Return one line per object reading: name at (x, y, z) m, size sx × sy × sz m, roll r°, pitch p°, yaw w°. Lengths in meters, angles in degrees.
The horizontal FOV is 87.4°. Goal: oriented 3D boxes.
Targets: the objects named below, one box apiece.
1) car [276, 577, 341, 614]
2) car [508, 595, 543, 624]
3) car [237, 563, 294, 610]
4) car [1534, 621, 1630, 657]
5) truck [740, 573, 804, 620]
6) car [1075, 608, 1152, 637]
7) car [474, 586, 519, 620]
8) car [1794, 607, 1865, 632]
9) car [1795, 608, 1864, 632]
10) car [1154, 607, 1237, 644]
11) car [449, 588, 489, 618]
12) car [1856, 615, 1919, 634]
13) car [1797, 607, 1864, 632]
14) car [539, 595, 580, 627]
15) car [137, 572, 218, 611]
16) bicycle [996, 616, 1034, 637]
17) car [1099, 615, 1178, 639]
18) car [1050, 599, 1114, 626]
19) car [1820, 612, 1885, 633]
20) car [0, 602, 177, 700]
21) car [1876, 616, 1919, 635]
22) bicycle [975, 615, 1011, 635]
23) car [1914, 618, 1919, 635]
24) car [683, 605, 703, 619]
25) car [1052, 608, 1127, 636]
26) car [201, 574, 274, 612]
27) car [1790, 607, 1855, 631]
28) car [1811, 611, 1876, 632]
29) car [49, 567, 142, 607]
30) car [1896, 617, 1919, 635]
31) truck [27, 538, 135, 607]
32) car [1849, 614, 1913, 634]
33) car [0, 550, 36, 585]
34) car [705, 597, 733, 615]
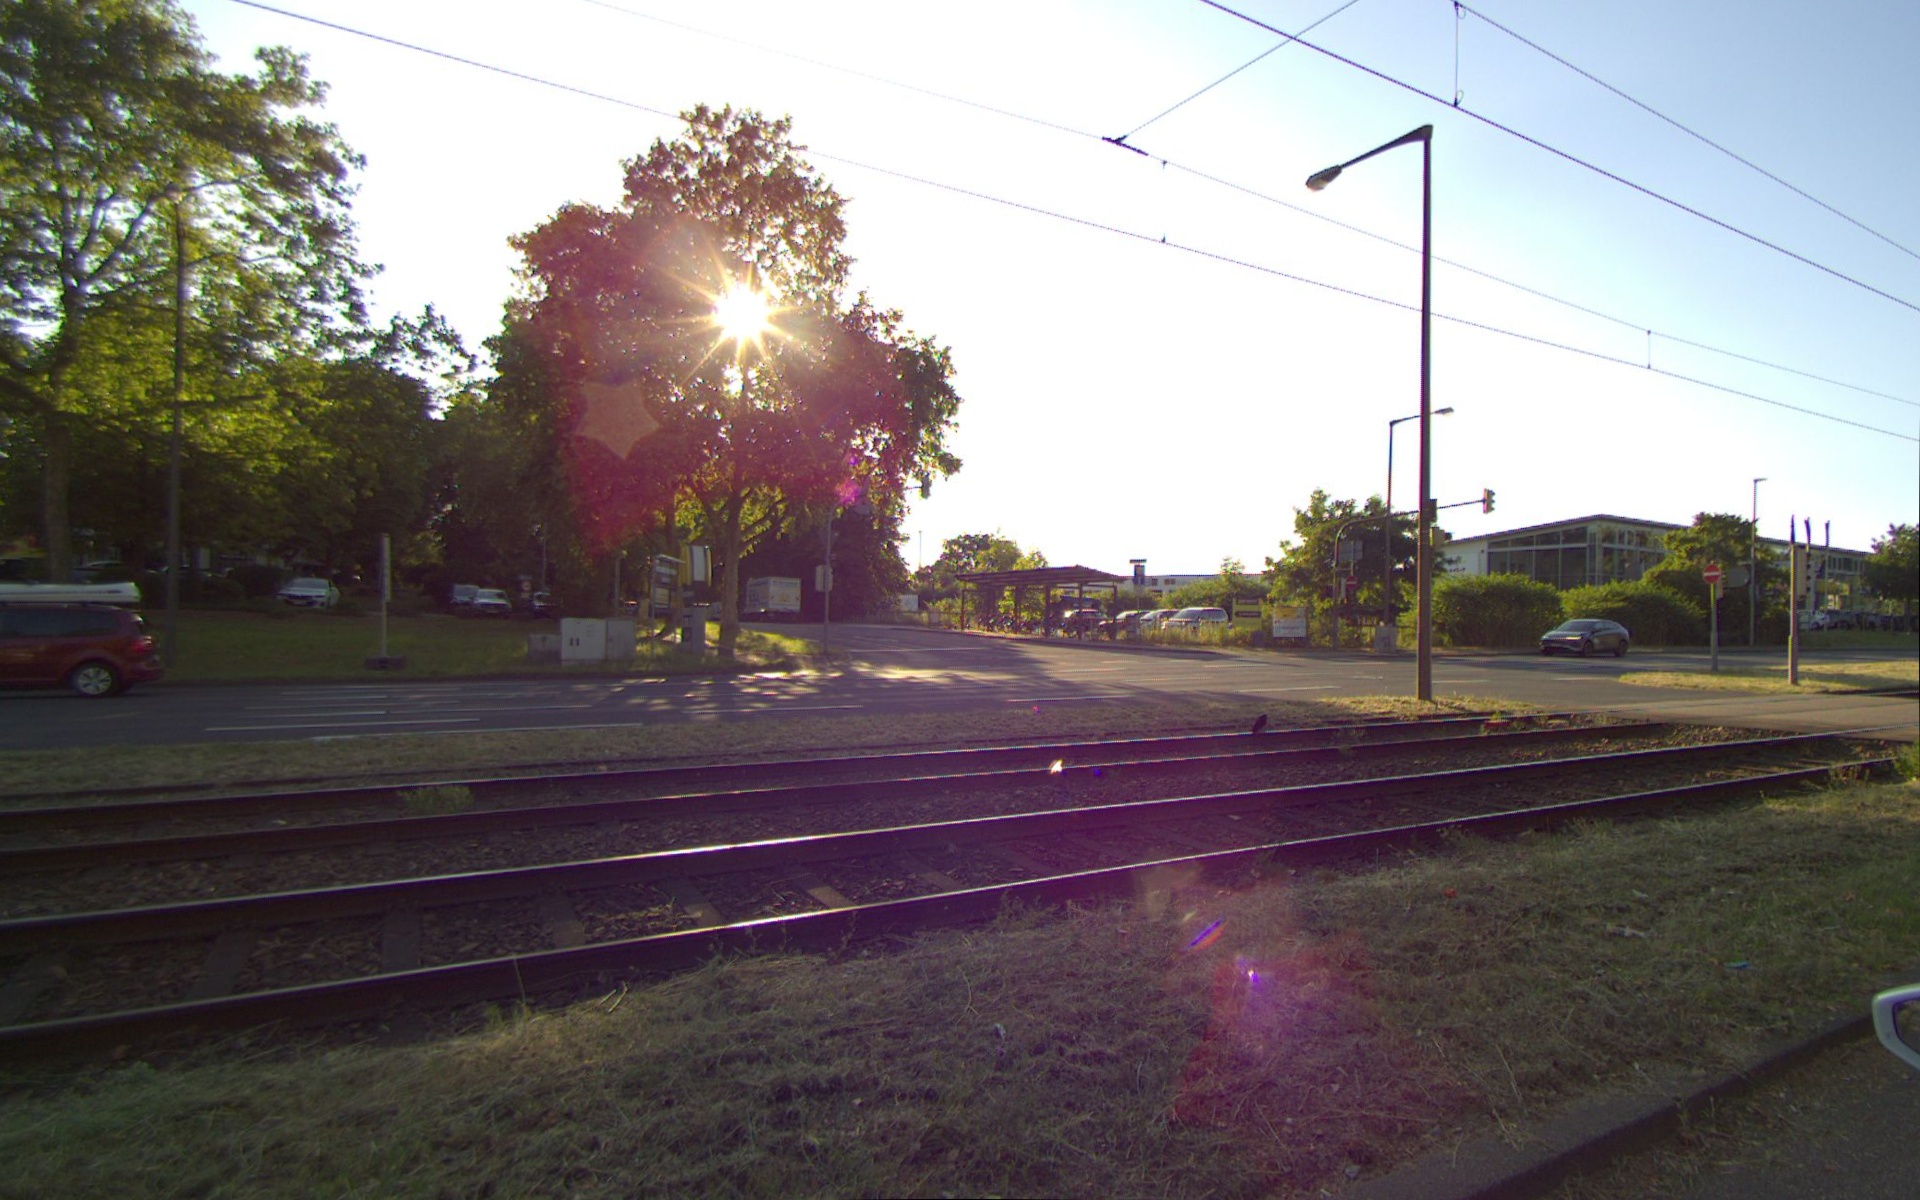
car at (-29.415, -0.200, 45.444) m, size 1.916 × 1.530 × 4.071 m, roll 2°, pitch 0°, yaw -26°
car at (-26.216, 0.526, 60.682) m, size 1.836 × 1.637 × 4.036 m, roll 2°, pitch 0°, yaw -23°
car at (-37.279, -0.727, 54.013) m, size 2.138 × 2.334 × 4.370 m, roll 2°, pitch 0°, yaw -31°
car at (27.894, 1.721, 45.024) m, size 4.120 × 1.501 × 1.854 m, roll 1°, pitch 0°, yaw -29°
truck at (-15.028, -0.276, 79.794) m, size 2.782 × 3.520 × 8.291 m, roll 1°, pitch 0°, yaw -27°
car at (8.838, 1.298, 57.804) m, size 4.123 × 1.604 × 1.853 m, roll 1°, pitch 0°, yaw -30°
car at (-22.917, 0.130, 49.594) m, size 1.916 × 1.530 × 4.071 m, roll 2°, pitch 0°, yaw -26°
car at (65.198, 1.453, 75.375) m, size 3.940 × 1.727 × 1.735 m, roll 1°, pitch 0°, yaw 40°
car at (66.744, 1.503, 77.174) m, size 3.940 × 1.727 × 1.735 m, roll 1°, pitch 0°, yaw 40°
car at (12.380, 1.338, 52.740) m, size 4.123 × 1.846 × 1.853 m, roll 1°, pitch 0°, yaw -30°
car at (-28.555, 0.149, 58.500) m, size 1.836 × 1.637 × 4.036 m, roll 2°, pitch 0°, yaw -23°
car at (81.785, 2.164, 88.513) m, size 1.728 × 1.576 × 3.957 m, roll 1°, pitch 0°, yaw -37°
car at (68.382, 1.501, 78.986) m, size 3.940 × 1.840 × 1.735 m, roll 1°, pitch 0°, yaw 40°
car at (-20.422, 0.542, 51.143) m, size 1.604 × 1.477 × 3.878 m, roll 2°, pitch 0°, yaw -27°
car at (-33.938, -0.373, 43.690) m, size 1.916 × 1.530 × 4.071 m, roll 2°, pitch 0°, yaw -26°
bicycle at (3.087, 1.489, 56.417) m, size 2.004 × 1.119 × 0.777 m, roll 2°, pitch 0°, yaw -30°
car at (9.957, 1.500, 55.872) m, size 4.123 × 1.284 × 1.853 m, roll 1°, pitch 0°, yaw -30°
car at (9.306, 0.953, 76.669) m, size 4.715 × 2.041 × 1.853 m, roll 1°, pitch 0°, yaw -30°
car at (74.227, 1.854, 83.615) m, size 3.940 × 1.577 × 1.735 m, roll 1°, pitch 0°, yaw 40°
car at (-16.698, 0.880, 17.747) m, size 4.262 × 1.656 × 1.828 m, roll 2°, pitch -2°, yaw -31°
car at (84.931, 2.287, 90.006) m, size 1.726 × 1.576 × 3.960 m, roll 1°, pitch 0°, yaw -35°
bicycle at (1.946, 1.467, 59.054) m, size 2.004 × 1.119 × 0.777 m, roll 2°, pitch 0°, yaw -30°
car at (91.317, 2.513, 93.025) m, size 1.725 × 1.642 × 3.962 m, roll 1°, pitch 0°, yaw -34°
car at (-33.305, 1.528, 125.347) m, size 1.887 × 1.602 × 4.036 m, roll 2°, pitch 0°, yaw -21°
car at (7.734, 1.305, 59.998) m, size 4.123 × 1.604 × 1.968 m, roll 1°, pitch 0°, yaw -30°
car at (-32.096, -0.300, 44.762) m, size 1.916 × 1.530 × 4.071 m, roll 2°, pitch 0°, yaw -26°
car at (69.344, 1.519, 80.831) m, size 3.940 × 1.840 × 1.735 m, roll 1°, pitch 0°, yaw 40°
car at (72.008, 1.758, 81.947) m, size 3.940 × 1.577 × 1.735 m, roll 1°, pitch 0°, yaw 40°
car at (-36.070, -0.535, 42.026) m, size 1.916 × 1.530 × 4.071 m, roll 2°, pitch 0°, yaw -26°
car at (88.401, 2.397, 91.745) m, size 1.725 × 1.642 × 3.962 m, roll 1°, pitch 0°, yaw -34°
truck at (-44.495, -1.317, 51.071) m, size 2.468 × 3.209 × 6.187 m, roll 2°, pitch 0°, yaw -26°
car at (79.633, 2.076, 86.895) m, size 3.940 × 1.577 × 1.735 m, roll 1°, pitch 0°, yaw 40°
car at (-53.842, -1.855, 56.388) m, size 2.274 × 1.875 × 5.220 m, roll 2°, pitch 0°, yaw -36°
car at (-22.823, 0.529, 95.001) m, size 1.711 × 1.603 × 4.028 m, roll 1°, pitch 0°, yaw -27°
